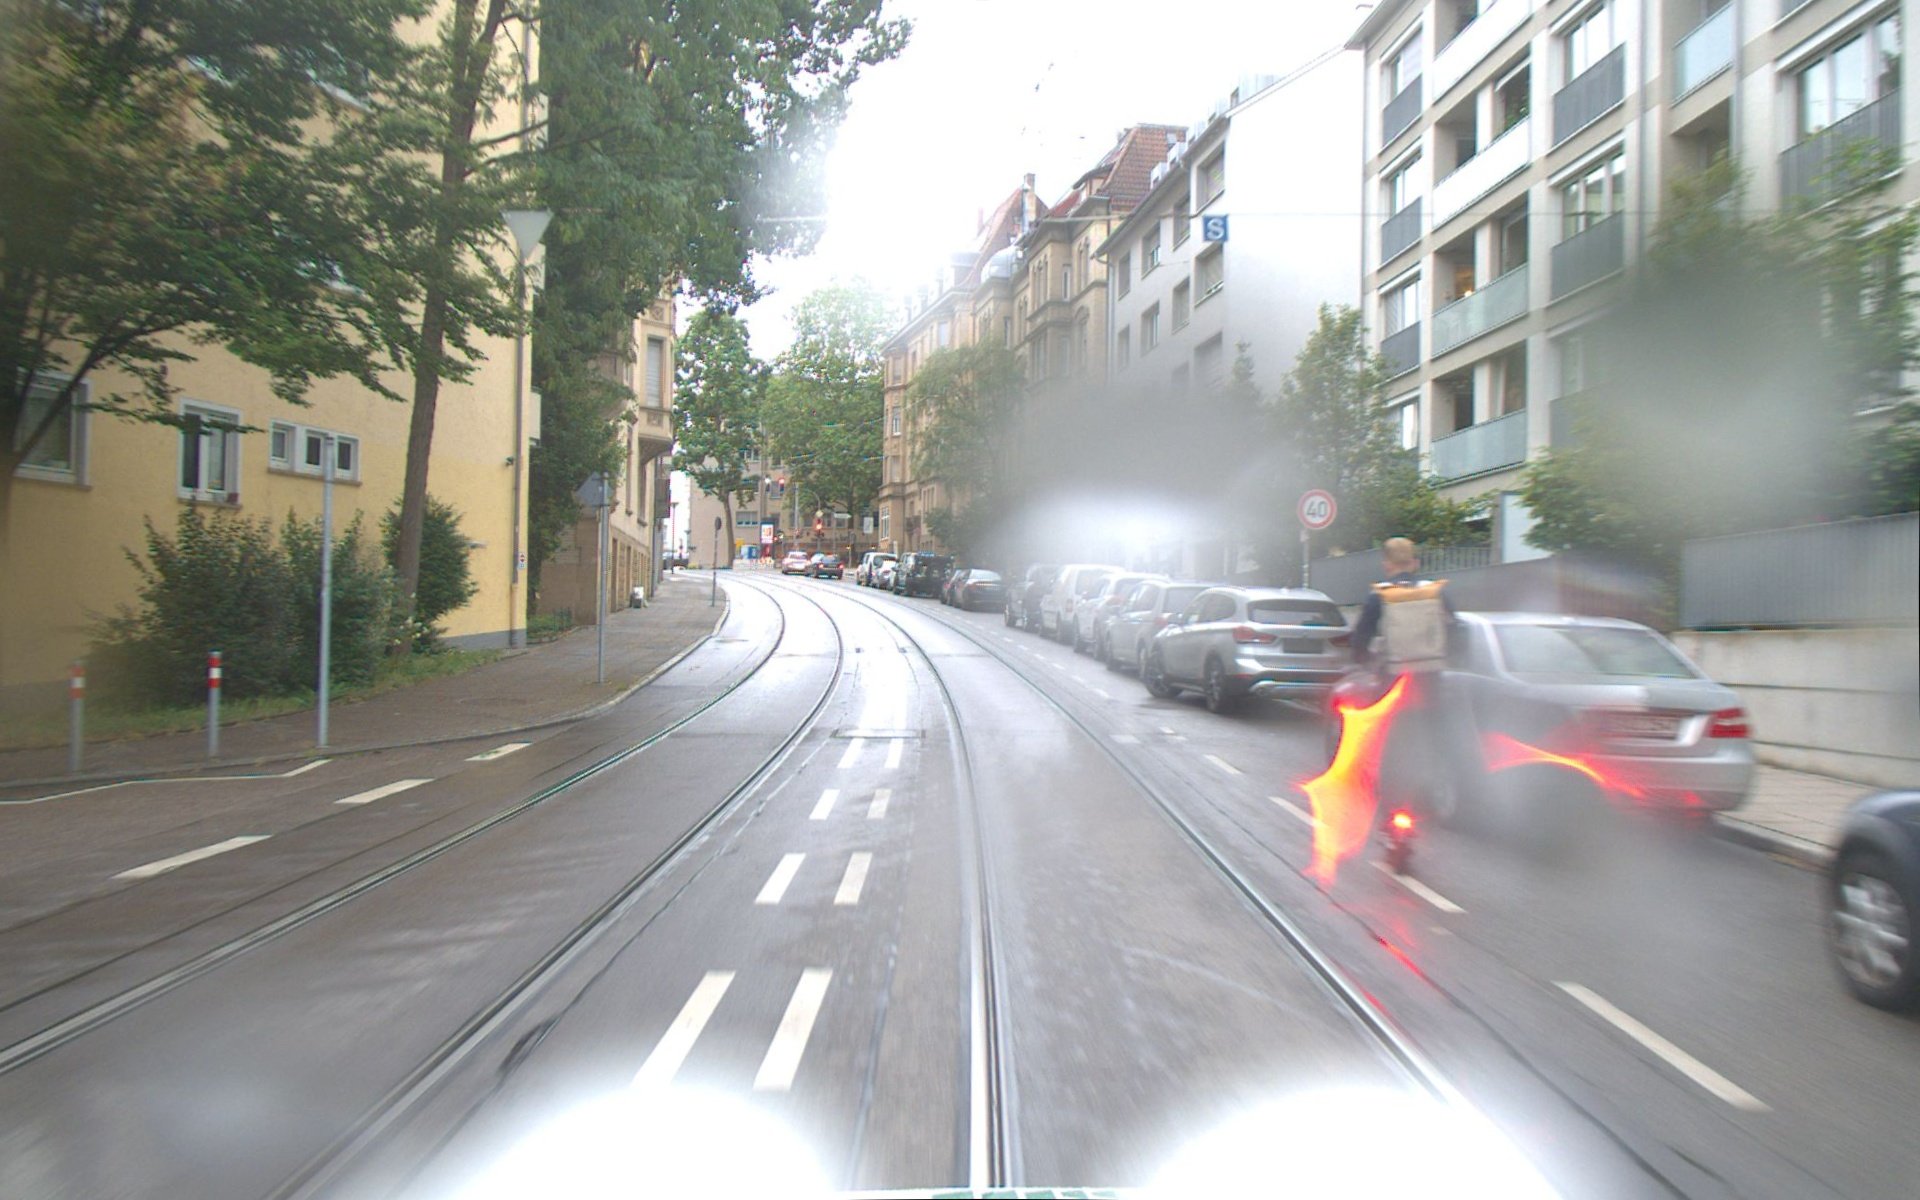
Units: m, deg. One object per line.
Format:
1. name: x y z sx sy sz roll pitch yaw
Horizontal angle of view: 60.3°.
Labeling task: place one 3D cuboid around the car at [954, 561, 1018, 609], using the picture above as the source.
1. car: 0.875 -0.556 58.324 1.732 1.544 4.135 2 1 -6

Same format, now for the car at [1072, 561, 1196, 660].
1. car: 3.462 0.151 33.651 1.732 1.818 4.245 2 1 -5

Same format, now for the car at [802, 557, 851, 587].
1. car: -8.340 -1.752 102.772 1.998 1.764 4.116 2 1 -20

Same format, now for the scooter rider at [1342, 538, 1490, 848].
1. scooter rider: 2.653 0.512 9.690 0.610 1.735 0.844 0 1 -1

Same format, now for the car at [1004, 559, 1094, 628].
1. car: 2.352 -0.213 44.601 1.732 1.713 4.243 2 1 -6

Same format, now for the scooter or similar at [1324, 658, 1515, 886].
1. scooter or similar: 2.627 0.938 9.664 0.503 1.068 2.008 1 1 -1

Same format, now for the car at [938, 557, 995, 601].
1. car: 0.215 -0.816 63.274 1.619 1.562 3.883 -2 2 -8

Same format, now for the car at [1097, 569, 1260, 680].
1. car: 3.611 0.348 28.073 1.733 1.643 4.243 2 1 -7

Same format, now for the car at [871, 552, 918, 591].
1. car: -3.346 -1.482 83.745 1.989 1.856 4.133 2 1 -7

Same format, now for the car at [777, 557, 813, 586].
1. car: -10.847 -1.880 108.519 1.824 1.764 4.127 2 1 -13

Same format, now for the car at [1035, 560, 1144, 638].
1. car: 3.038 -0.075 39.627 1.733 1.713 4.242 2 1 -7

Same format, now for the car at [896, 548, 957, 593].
1. car: -1.509 -1.308 72.383 1.991 1.856 4.358 2 1 -10

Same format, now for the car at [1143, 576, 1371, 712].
1. car: 3.842 0.504 22.171 1.734 1.643 4.240 0 1 -9

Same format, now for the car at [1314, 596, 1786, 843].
1. car: 4.131 0.731 12.491 1.727 1.460 4.637 0 1 -3

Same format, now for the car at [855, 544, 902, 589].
1. car: -4.401 -1.824 88.881 1.991 2.256 4.131 2 1 -9

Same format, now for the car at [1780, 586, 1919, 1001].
1. car: 4.417 0.738 5.340 1.667 1.538 3.714 0 1 -1
